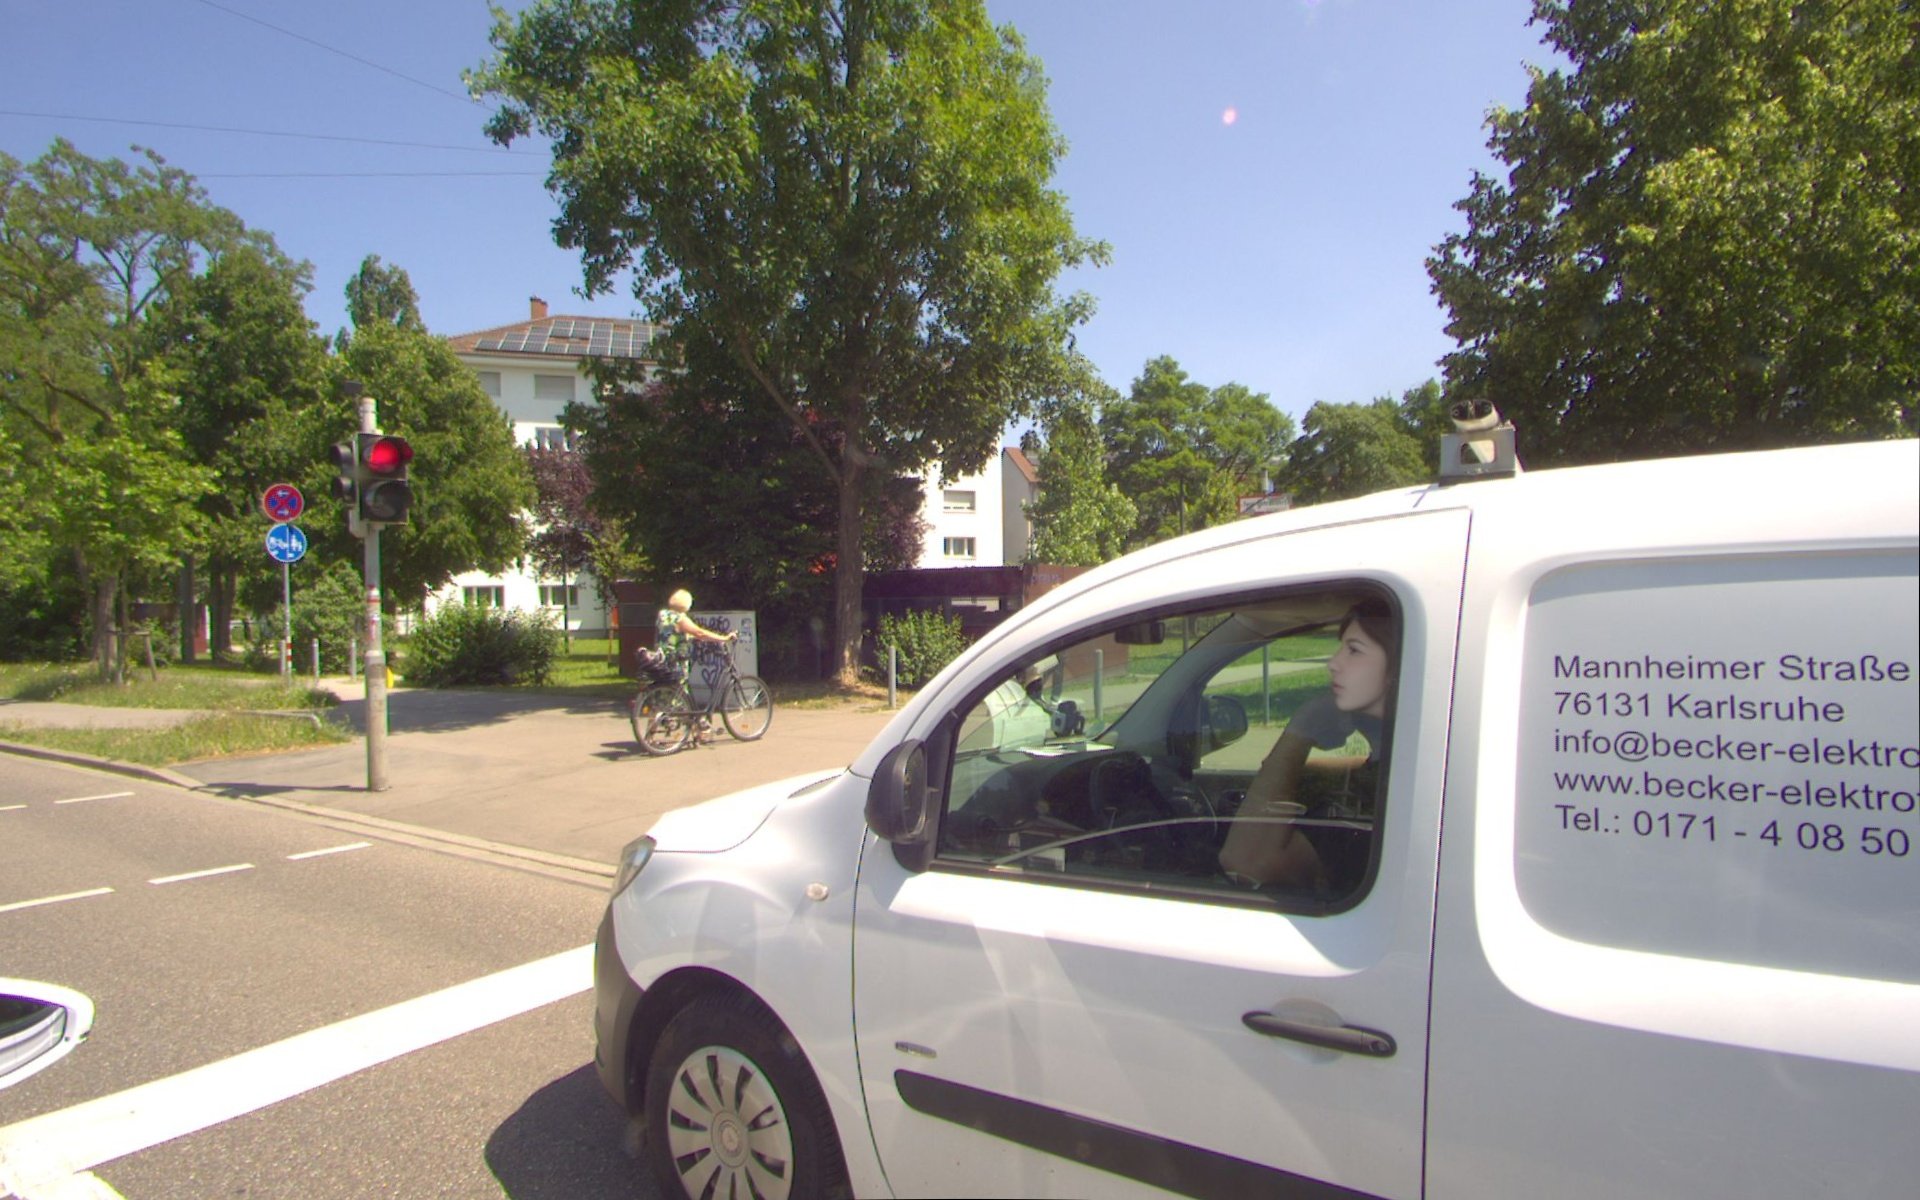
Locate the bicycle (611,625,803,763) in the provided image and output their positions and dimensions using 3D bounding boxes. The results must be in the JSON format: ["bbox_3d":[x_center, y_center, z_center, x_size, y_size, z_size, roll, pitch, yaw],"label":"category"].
[{"bbox_3d":[-2.566,0.914,10.372,0.535,1.177,1.947,2,4,41],"label":"bicycle"}]

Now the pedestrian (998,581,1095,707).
[{"bbox_3d":[1.312,0.644,15.224,1.175,1.801,0.833,-3,1,-40],"label":"pedestrian"}]

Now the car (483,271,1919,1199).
[{"bbox_3d":[1.124,0.567,2.301,4.384,1.850,1.990,-1,0,32],"label":"car"}]

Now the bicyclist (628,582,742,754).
[{"bbox_3d":[-2.866,0.668,10.482,0.573,1.690,0.952,2,4,41],"label":"bicyclist"}]
